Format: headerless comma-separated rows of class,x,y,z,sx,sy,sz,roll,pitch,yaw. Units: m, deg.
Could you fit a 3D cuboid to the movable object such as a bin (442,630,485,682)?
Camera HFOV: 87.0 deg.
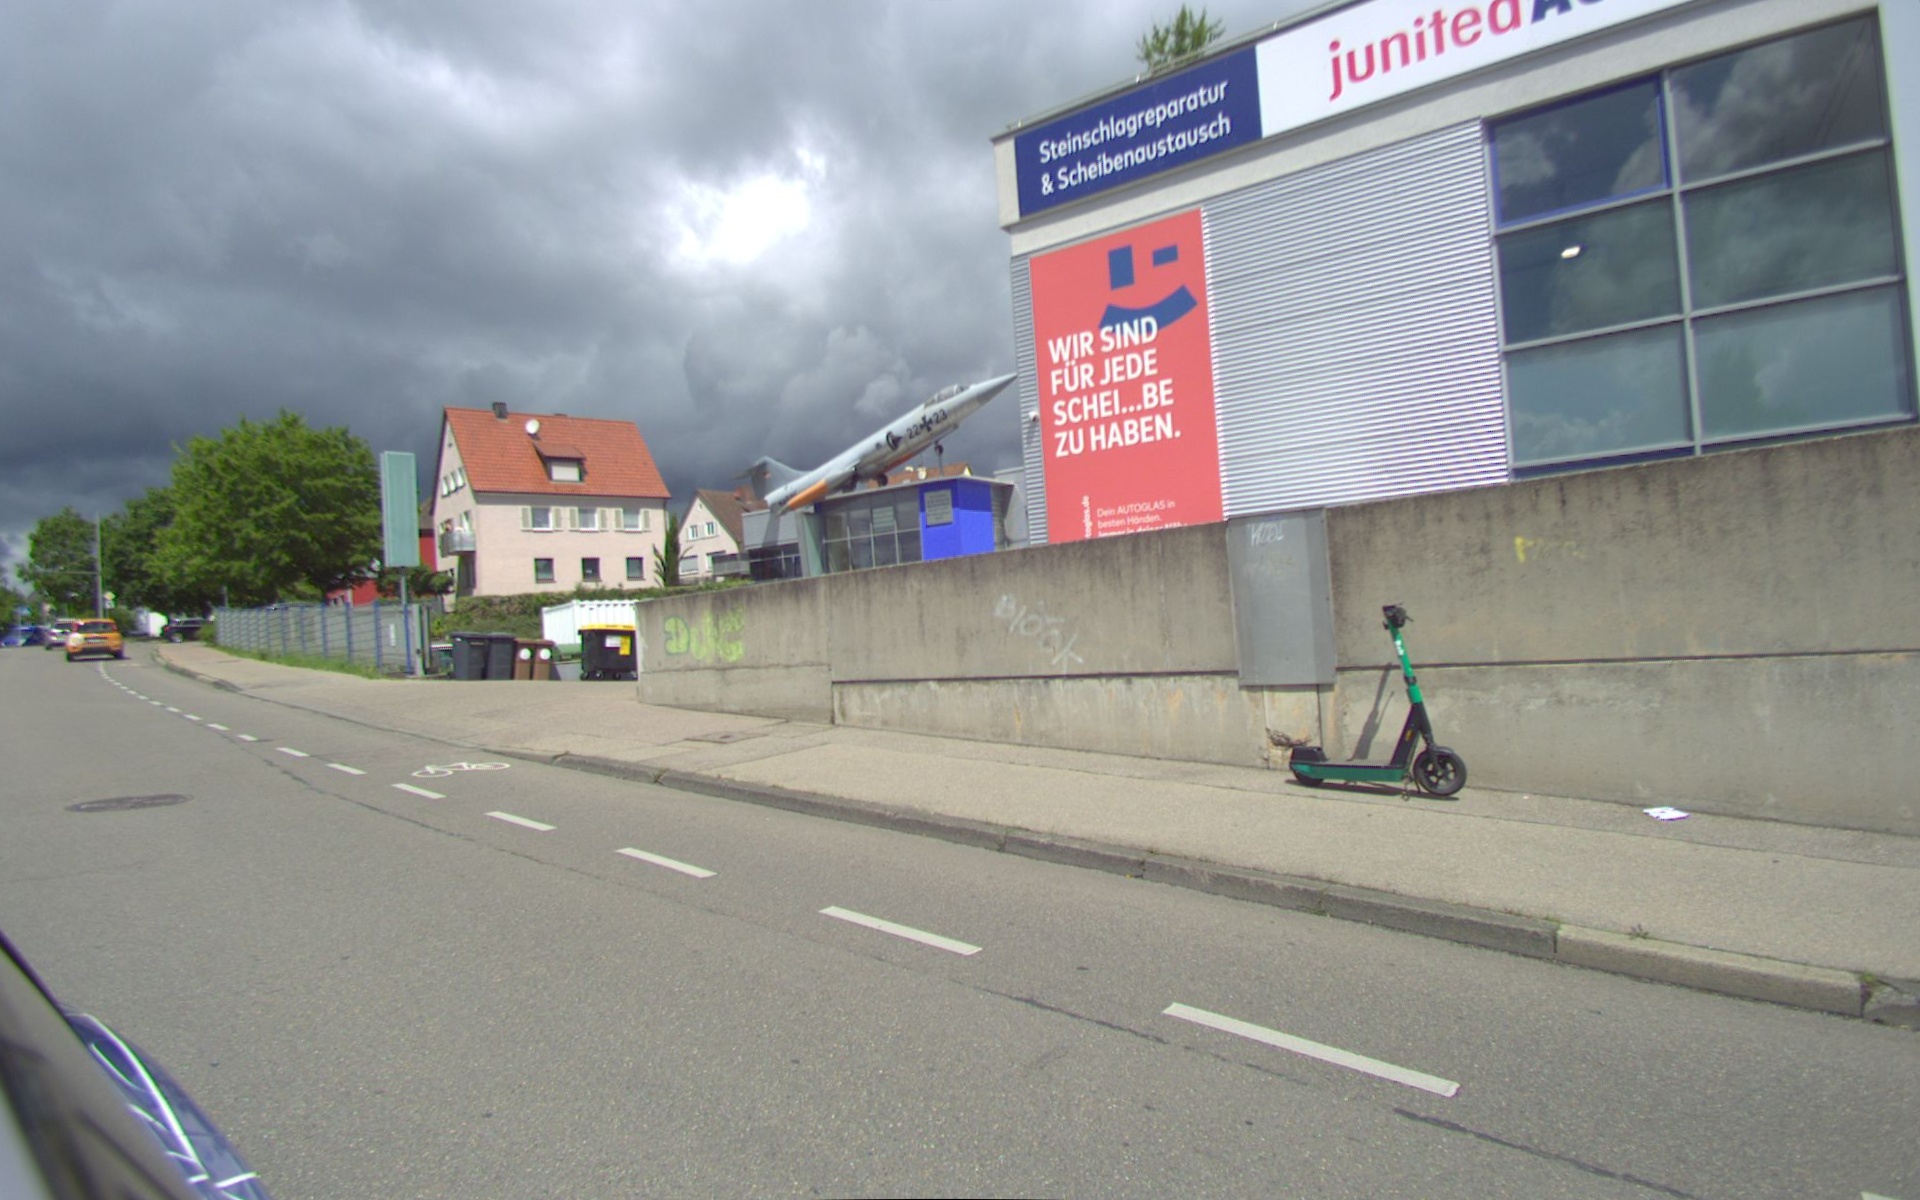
movable object such as a bin,-10.679,1.204,21.784,0.517,1.089,0.655,-2,-4,44

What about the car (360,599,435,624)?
car,-35.972,0.721,64.803,3.957,1.517,1.589,-1,0,-40

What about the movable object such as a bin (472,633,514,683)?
movable object such as a bin,-10.241,1.270,22.192,0.517,1.089,0.655,-2,-4,44

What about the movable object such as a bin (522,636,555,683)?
movable object such as a bin,-9.587,1.350,23.016,0.517,1.053,0.509,-2,-4,44

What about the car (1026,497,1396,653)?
car,3.052,-0.246,12.577,4.101,1.649,1.792,-1,0,33

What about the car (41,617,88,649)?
car,-46.082,1.685,52.055,1.623,1.544,4.226,-1,0,-43

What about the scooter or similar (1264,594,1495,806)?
scooter or similar,2.791,0.618,6.797,1.305,1.285,0.551,-1,0,42

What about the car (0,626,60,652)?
car,-82.368,3.420,89.259,1.930,1.984,5.141,-1,0,-9

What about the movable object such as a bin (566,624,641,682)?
movable object such as a bin,-8.412,1.241,23.904,1.232,1.316,1.207,-2,-4,43

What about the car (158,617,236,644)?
car,-47.211,1.869,62.648,3.798,1.517,1.589,-1,0,-40

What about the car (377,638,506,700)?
car,-19.491,2.529,38.093,3.940,2.029,1.853,-1,0,-44

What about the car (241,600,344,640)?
car,-32.380,0.944,49.154,1.524,1.789,3.901,-1,0,44

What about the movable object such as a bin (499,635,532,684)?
movable object such as a bin,-9.970,1.330,22.686,0.498,1.068,0.496,-2,-4,44

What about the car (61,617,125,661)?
car,-32.379,1.419,37.865,1.580,1.502,3.689,-1,0,-38

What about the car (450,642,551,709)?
car,-11.791,1.866,25.905,1.413,1.470,3.367,-1,0,-41
